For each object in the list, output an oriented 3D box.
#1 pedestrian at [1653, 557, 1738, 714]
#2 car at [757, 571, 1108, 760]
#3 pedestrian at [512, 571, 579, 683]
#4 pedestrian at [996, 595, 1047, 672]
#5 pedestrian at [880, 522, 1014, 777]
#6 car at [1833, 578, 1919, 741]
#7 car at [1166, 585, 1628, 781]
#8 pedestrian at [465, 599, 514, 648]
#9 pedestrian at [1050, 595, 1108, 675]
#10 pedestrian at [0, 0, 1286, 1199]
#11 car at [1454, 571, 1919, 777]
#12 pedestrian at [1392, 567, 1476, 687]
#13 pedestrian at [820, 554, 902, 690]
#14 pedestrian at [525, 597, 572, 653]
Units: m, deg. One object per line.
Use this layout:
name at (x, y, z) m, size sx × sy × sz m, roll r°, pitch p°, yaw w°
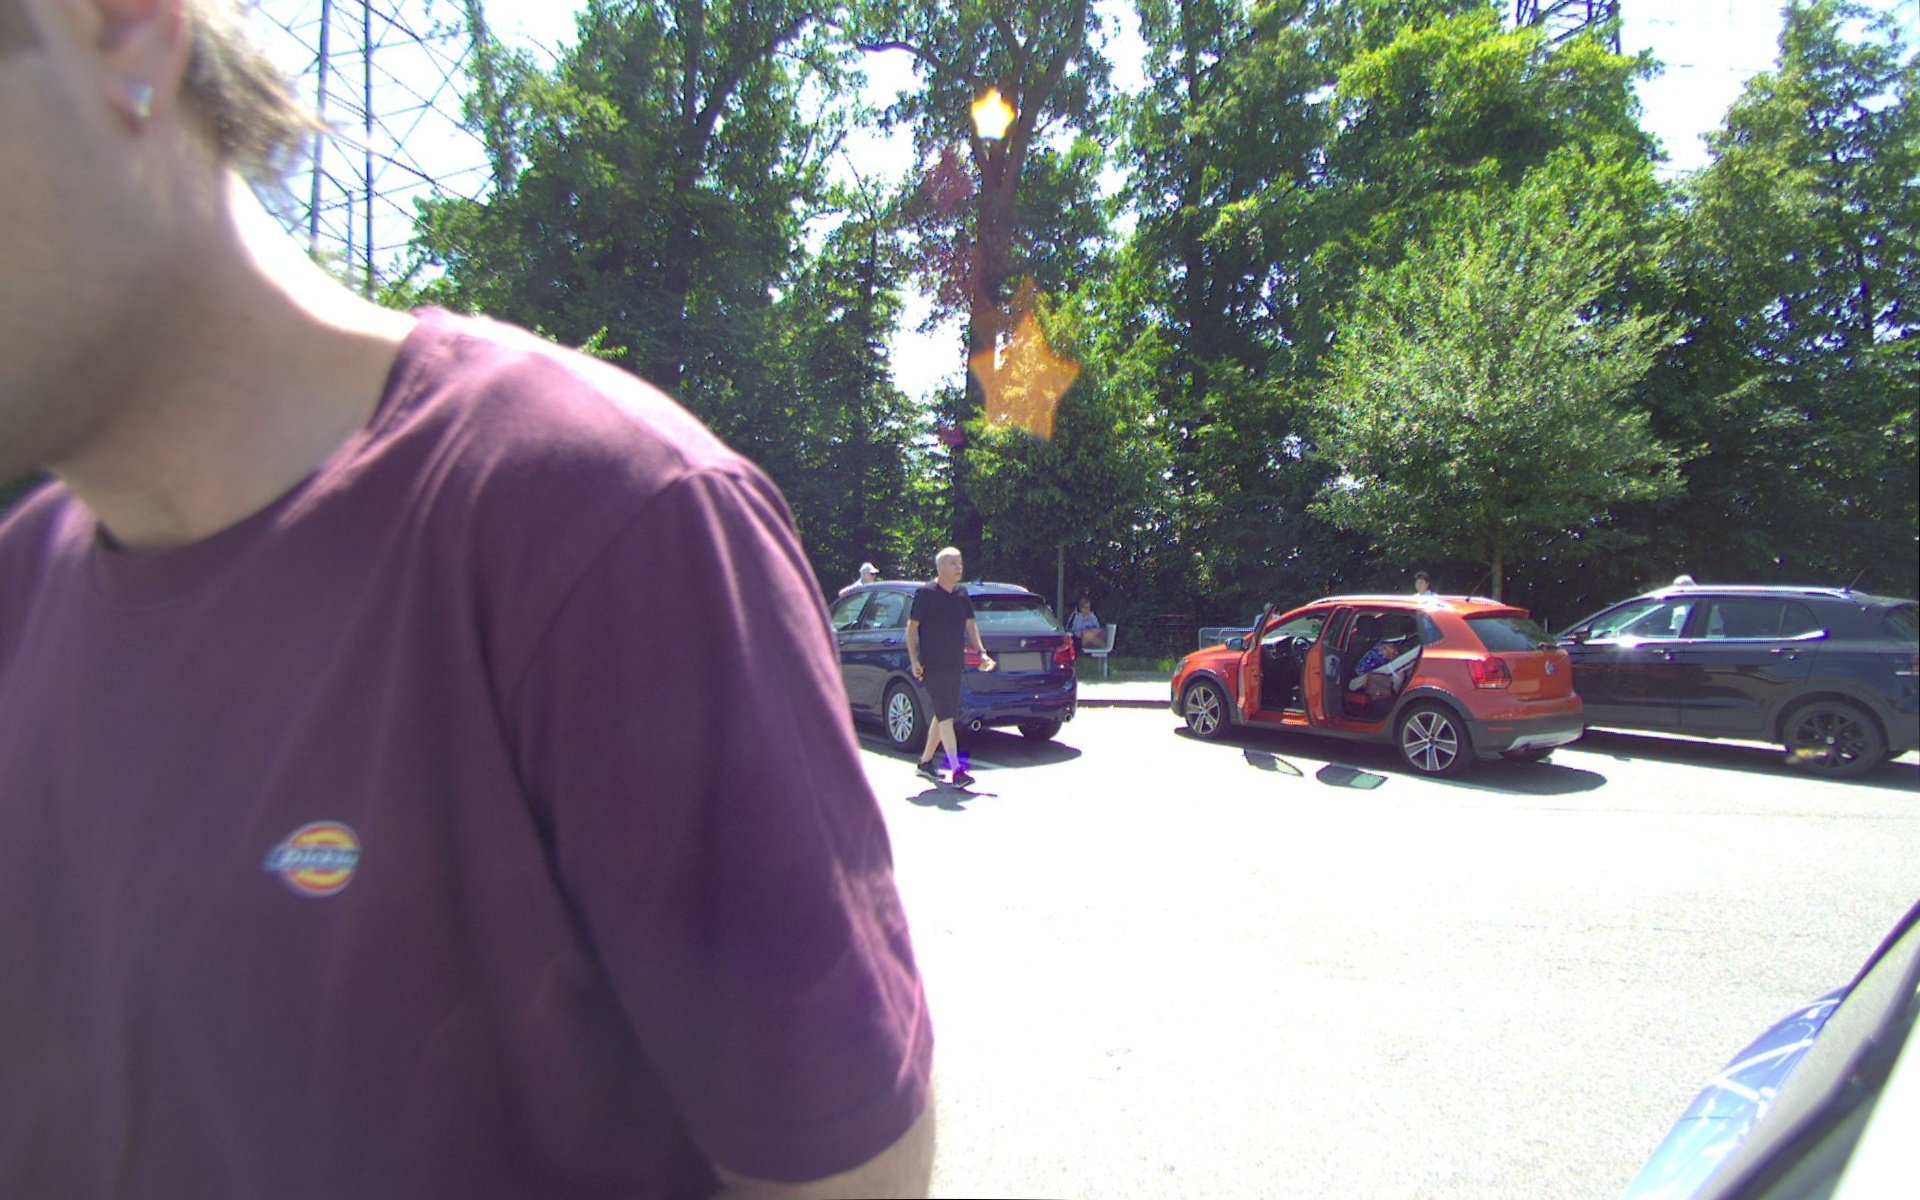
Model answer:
pedestrian at (9.164, 0.421, 12.635) m, size 0.672 × 1.889 × 0.710 m, roll 0°, pitch -1°, yaw 19°
car at (-0.483, 0.546, 10.696) m, size 1.809 × 1.588 × 4.017 m, roll 1°, pitch 0°, yaw -35°
pedestrian at (-6.183, 0.385, 15.073) m, size 0.760 × 1.614 × 0.810 m, roll 1°, pitch -1°, yaw -33°
pedestrian at (1.044, 0.561, 17.182) m, size 0.656 × 1.285 × 0.655 m, roll 1°, pitch -1°, yaw -17°
pedestrian at (-0.115, 0.361, 7.904) m, size 0.701 × 1.851 × 0.906 m, roll 1°, pitch -1°, yaw -27°
car at (10.930, 0.603, 9.382) m, size 1.745 × 1.612 × 3.972 m, roll 1°, pitch 0°, yaw -32°
car at (3.928, 0.624, 9.648) m, size 1.746 × 1.475 × 3.710 m, roll 1°, pitch 0°, yaw -33°
pedestrian at (-10.561, 0.512, 22.721) m, size 0.796 × 1.062 × 0.714 m, roll 1°, pitch -1°, yaw -43°
pedestrian at (1.984, 0.574, 16.926) m, size 0.656 × 1.311 × 0.832 m, roll 1°, pitch -1°, yaw -17°
pedestrian at (-0.445, 0.403, 0.508) m, size 0.828 × 1.797 × 0.926 m, roll 0°, pitch -1°, yaw 45°
car at (7.209, 0.579, 9.834) m, size 1.807 × 1.612 × 3.967 m, roll 1°, pitch 0°, yaw -38°
pedestrian at (6.603, 0.369, 14.115) m, size 0.793 × 1.614 × 0.716 m, roll 1°, pitch -1°, yaw -7°
pedestrian at (-1.358, 0.286, 13.836) m, size 0.786 × 1.784 × 0.809 m, roll 1°, pitch -1°, yaw -39°
pedestrian at (-9.611, 0.573, 23.629) m, size 0.796 × 1.253 × 0.713 m, roll 1°, pitch -1°, yaw -44°
